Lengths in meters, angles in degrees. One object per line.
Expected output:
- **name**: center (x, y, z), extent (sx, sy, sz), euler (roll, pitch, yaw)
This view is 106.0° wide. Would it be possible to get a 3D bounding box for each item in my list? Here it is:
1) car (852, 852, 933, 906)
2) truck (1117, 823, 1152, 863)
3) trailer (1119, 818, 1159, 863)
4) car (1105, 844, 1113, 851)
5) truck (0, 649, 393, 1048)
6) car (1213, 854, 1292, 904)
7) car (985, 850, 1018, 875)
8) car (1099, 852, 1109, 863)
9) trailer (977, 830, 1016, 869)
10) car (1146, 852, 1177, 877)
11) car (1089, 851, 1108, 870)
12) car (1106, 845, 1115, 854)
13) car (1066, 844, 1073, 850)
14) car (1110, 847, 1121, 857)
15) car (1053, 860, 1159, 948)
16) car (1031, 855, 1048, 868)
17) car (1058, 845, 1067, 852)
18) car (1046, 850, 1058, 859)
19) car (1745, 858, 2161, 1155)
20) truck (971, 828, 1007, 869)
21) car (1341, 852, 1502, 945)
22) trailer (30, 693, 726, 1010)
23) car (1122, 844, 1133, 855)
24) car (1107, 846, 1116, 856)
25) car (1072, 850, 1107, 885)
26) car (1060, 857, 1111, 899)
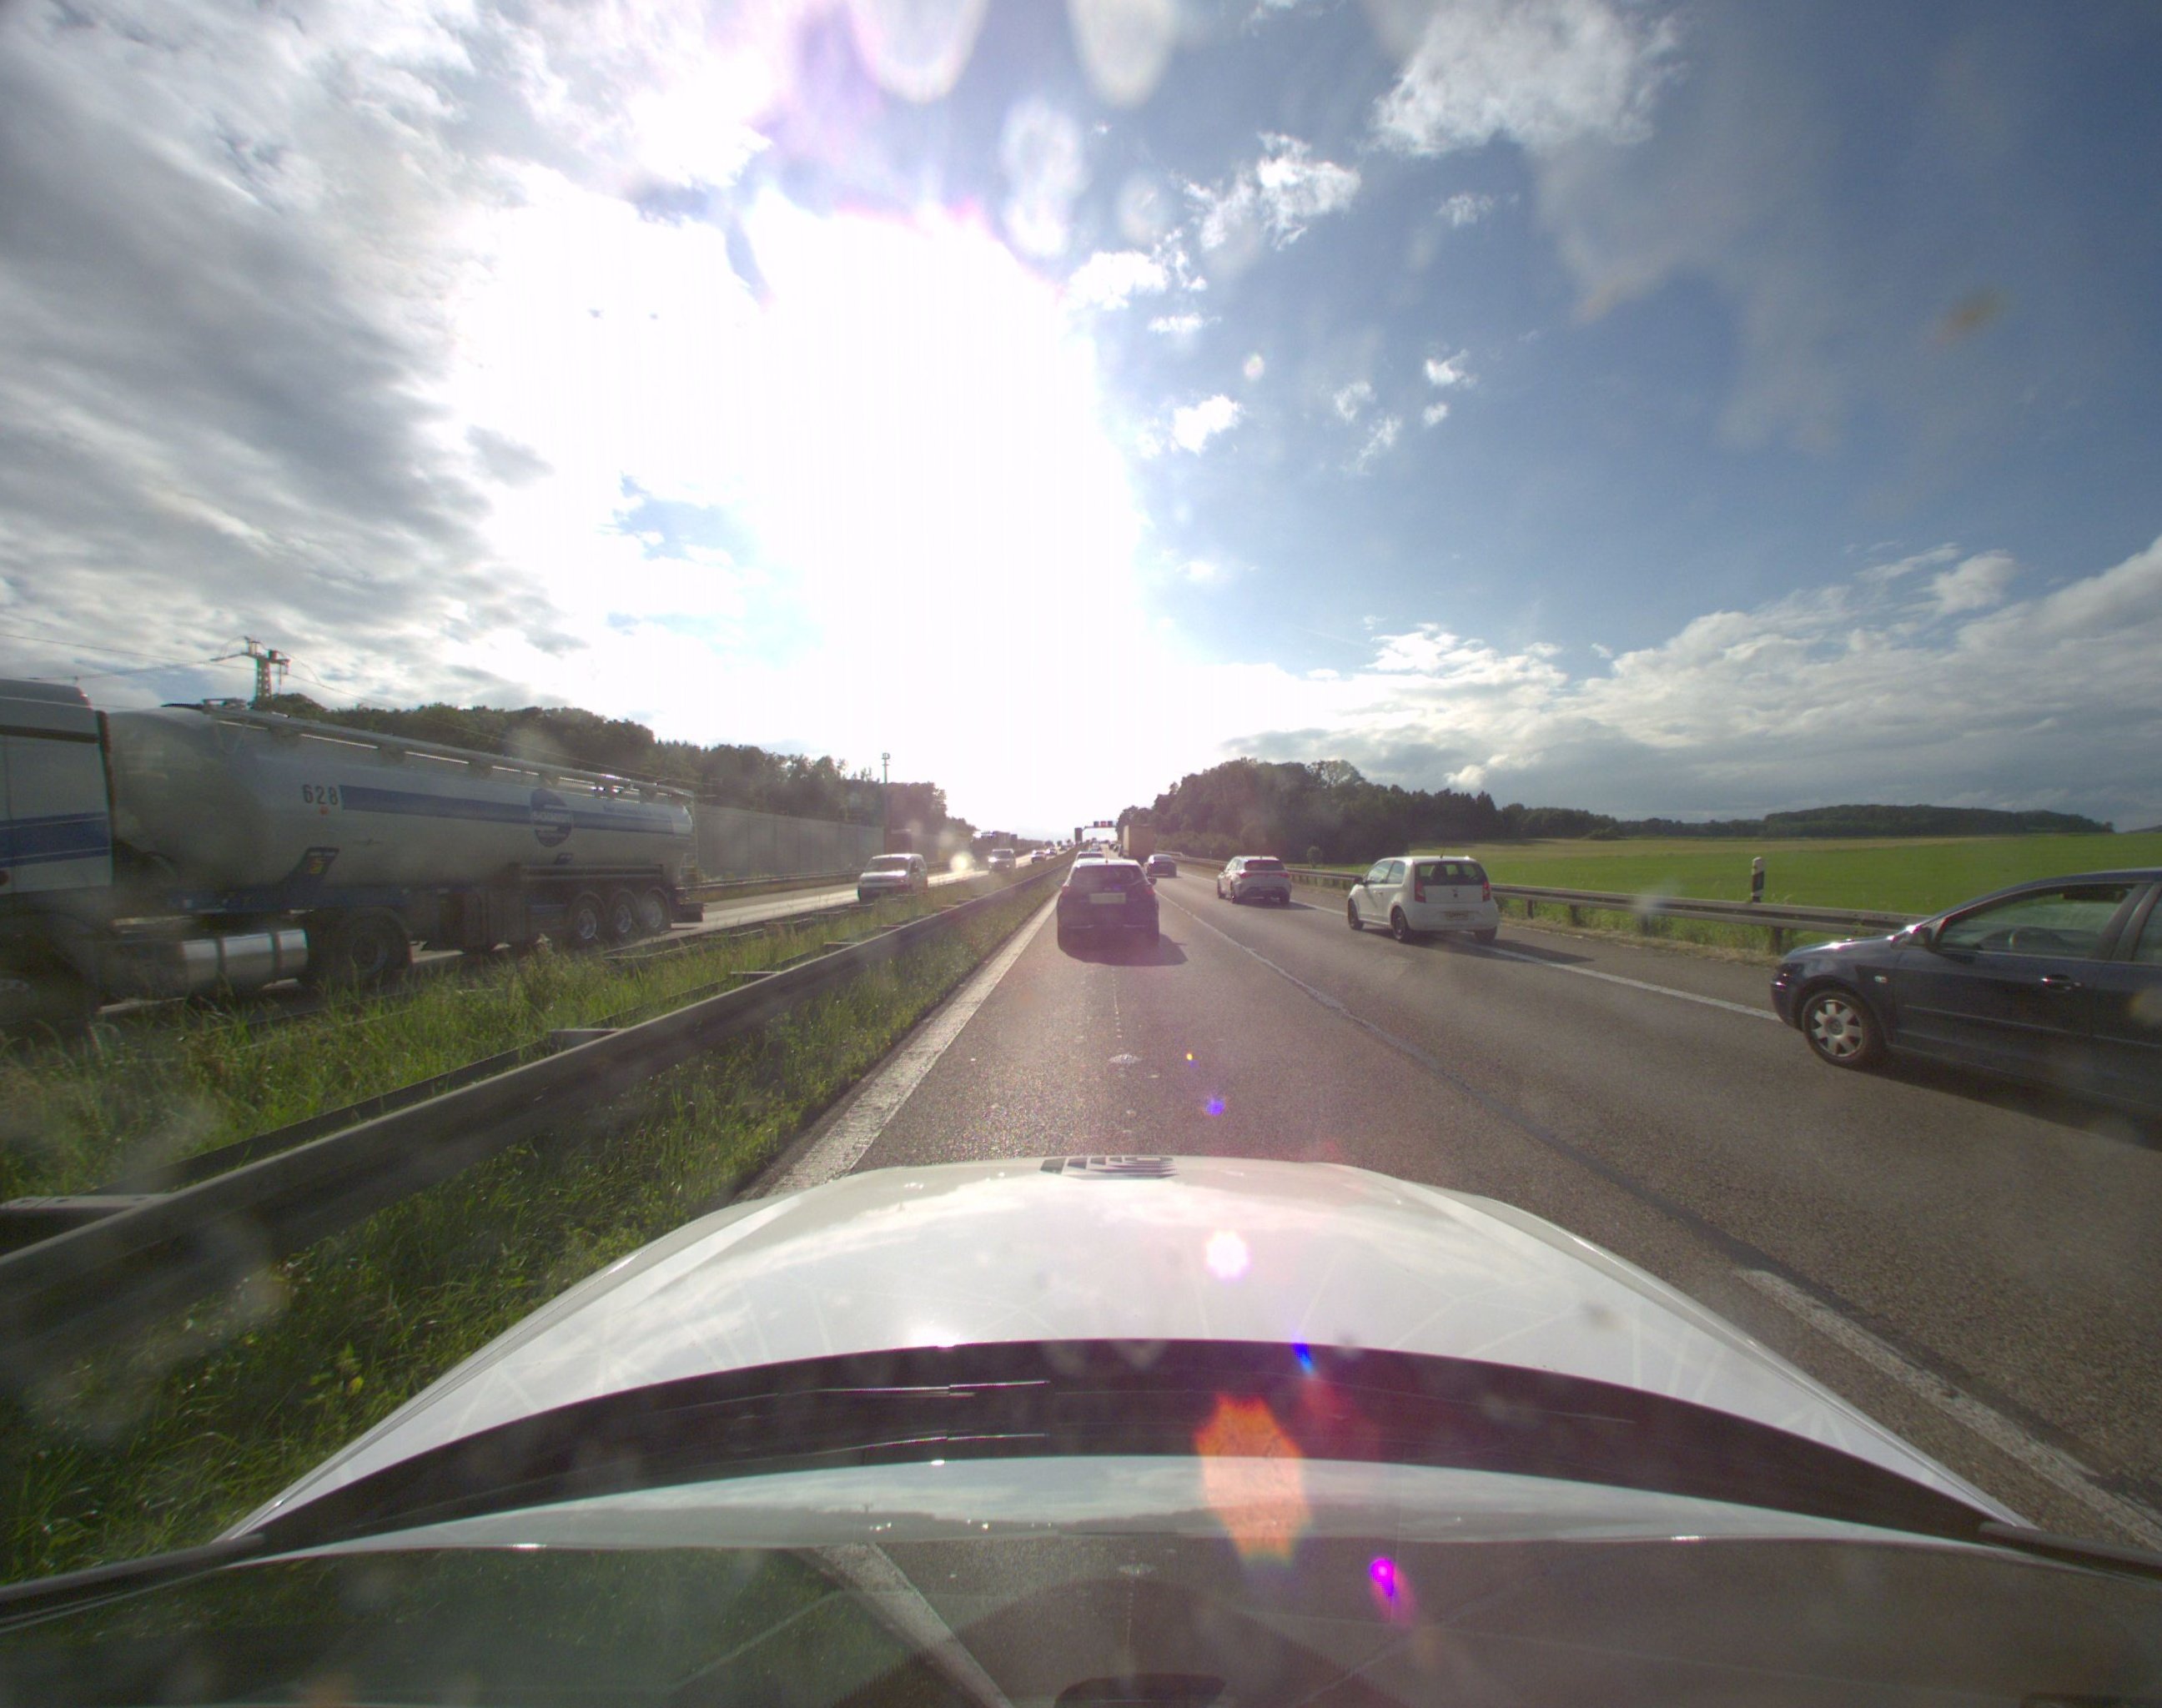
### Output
- **car**: center (-6.833, 0.884, 30.000), extent (1.853, 1.834, 4.282), euler (0, -1, 2)
- **truck**: center (5.993, -1.201, 92.949), extent (3.570, 4.380, 6.687), euler (0, -1, 0)
- **trailer**: center (5.965, -1.243, 86.214), extent (3.536, 4.457, 12.722), euler (0, -1, 1)
- **car**: center (7.619, -1.774, 221.662), extent (1.987, 2.014, 4.000), euler (0, -1, 0)
- **truck**: center (-11.512, 0.007, 9.268), extent (2.543, 3.798, 5.419), euler (-3, -1, 2)
- **car**: center (5.365, 0.759, 25.911), extent (1.615, 1.445, 4.145), euler (0, -1, 0)
- **car**: center (-6.434, 0.717, 66.187), extent (1.986, 1.883, 4.788), euler (-3, -1, 1)
- **car**: center (4.034, 0.641, 141.450), extent (1.660, 1.755, 3.329), euler (0, -1, 3)
- **trailer**: center (-9.475, -0.420, 92.547), extent (2.749, 4.115, 12.906), euler (-1, -1, 1)
- **car**: center (5.106, 0.668, 52.038), extent (1.740, 1.475, 4.149), euler (0, -1, 2)
- **car**: center (1.825, 0.742, 87.691), extent (1.987, 2.014, 4.000), euler (0, -1, 0)
- **car**: center (6.687, -0.964, 183.540), extent (1.987, 2.014, 4.000), euler (0, -1, 0)
- **car**: center (-3.488, -2.162, 240.142), extent (1.987, 1.593, 4.448), euler (0, -1, 0)
- **car**: center (6.864, -0.388, 162.977), extent (1.987, 2.014, 4.000), euler (0, -1, 0)
- **car**: center (0.486, 0.835, 14.959), extent (1.703, 1.426, 3.380), euler (0, -1, 3)
- **car**: center (-5.491, 1.028, 107.684), extent (1.881, 1.632, 5.111), euler (0, -1, 1)
- **car**: center (-4.237, -1.261, 189.307), extent (1.987, 1.433, 4.448), euler (0, -1, 0)
- **car**: center (-5.201, 0.078, 146.998), extent (1.895, 1.464, 4.184), euler (0, -1, 1)
- **car**: center (6.110, 0.748, 4.538), extent (1.705, 1.445, 3.772), euler (0, -1, -1)
- **truck**: center (-9.663, -0.482, 86.106), extent (2.744, 4.090, 6.954), euler (-1, -1, 1)
- **car**: center (6.106, 0.727, 14.990), extent (1.544, 1.495, 3.377), euler (0, 0, 0)
- **trailer**: center (-11.326, 0.038, 16.201), extent (2.531, 3.771, 12.546), euler (-2, -1, 2)
- **car**: center (7.306, -0.730, 128.698), extent (1.660, 1.755, 3.329), euler (0, -1, 3)
- **car**: center (5.536, -0.508, 146.980), extent (1.660, 1.755, 3.329), euler (0, -1, 3)
- **car**: center (0.461, 0.695, 41.734), extent (1.667, 1.726, 3.598), euler (0, -1, 2)
- **car**: center (0.211, 0.806, 28.572), extent (1.667, 1.367, 3.598), euler (0, -1, 2)
